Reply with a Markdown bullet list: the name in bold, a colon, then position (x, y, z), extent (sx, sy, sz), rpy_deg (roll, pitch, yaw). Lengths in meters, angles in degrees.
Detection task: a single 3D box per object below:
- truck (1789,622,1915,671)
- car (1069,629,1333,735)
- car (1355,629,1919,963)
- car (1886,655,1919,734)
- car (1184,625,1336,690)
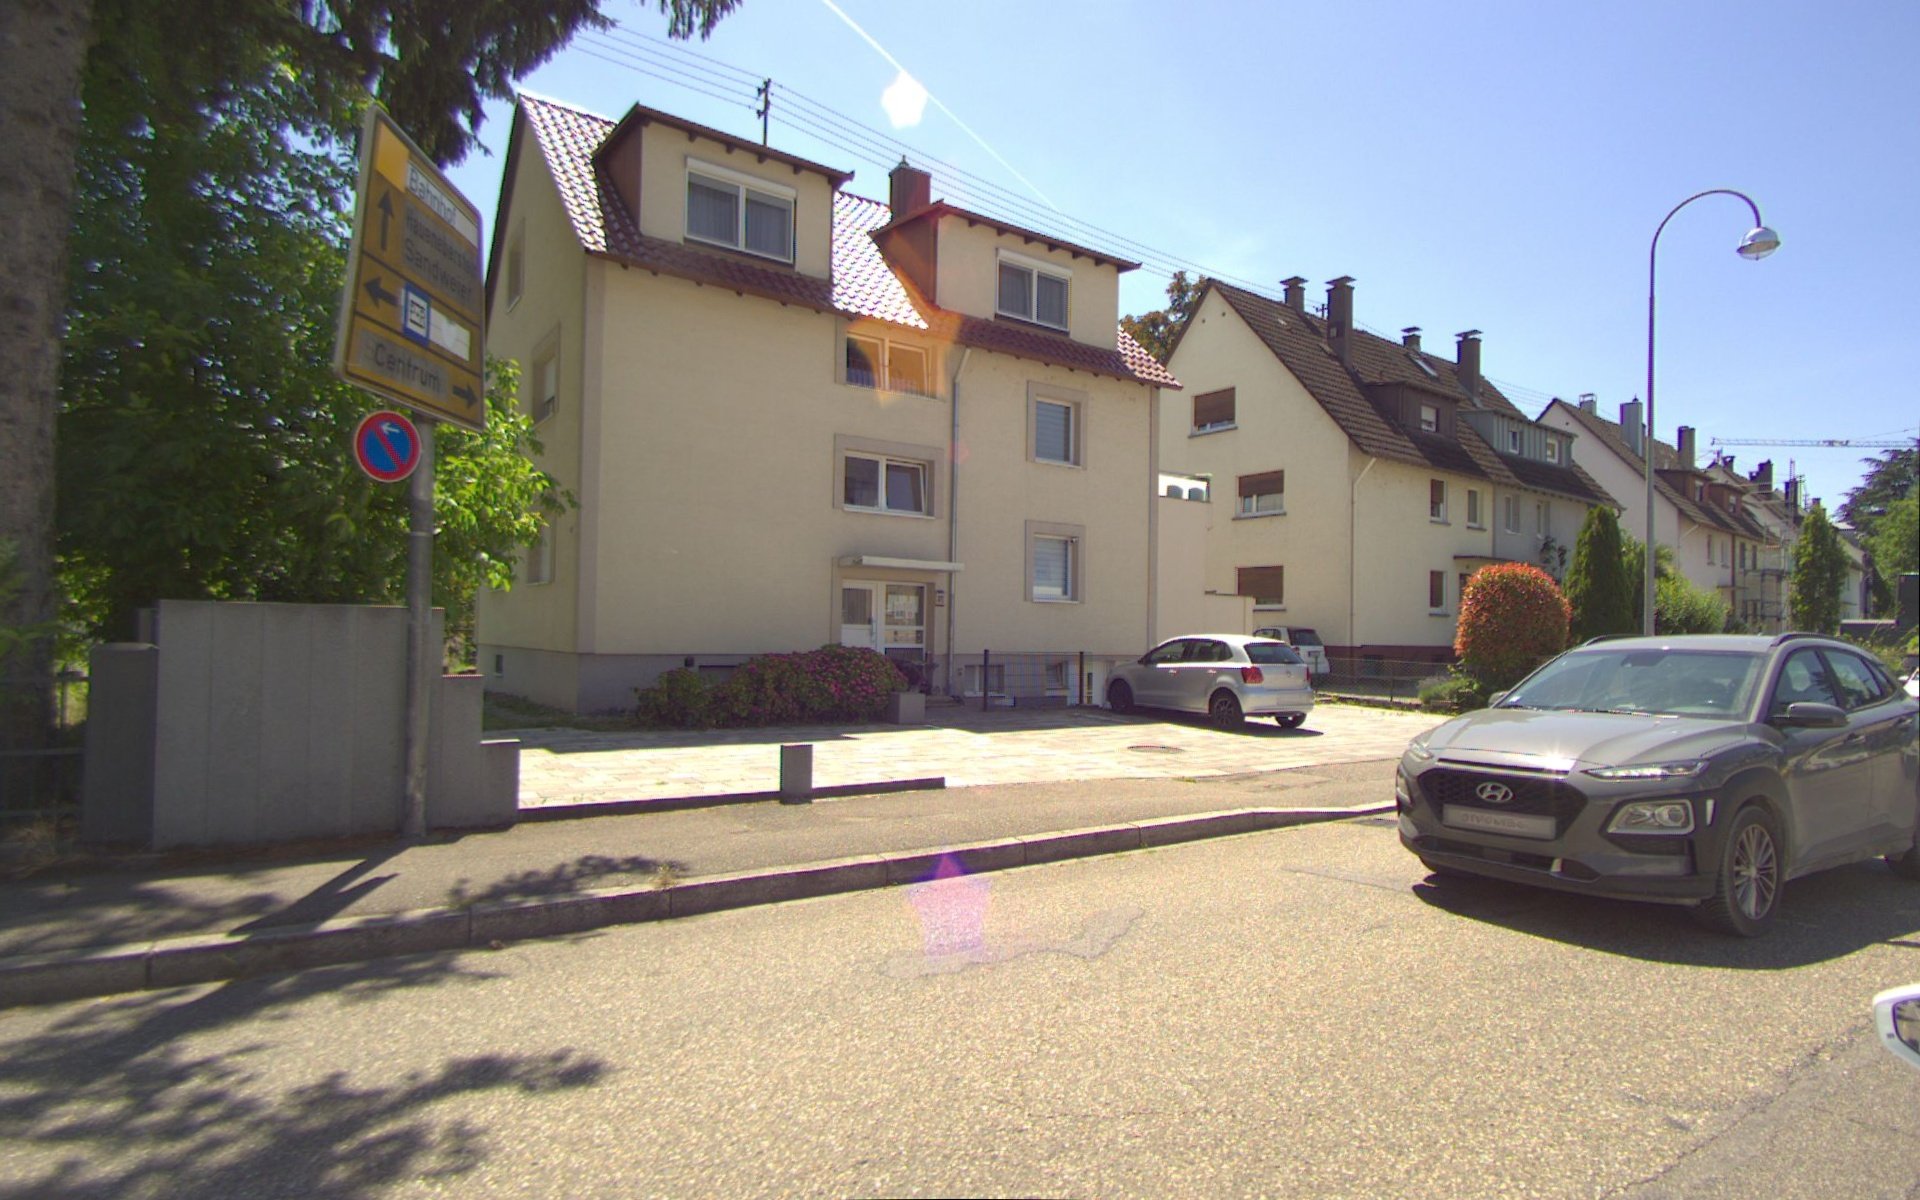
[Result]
- **truck**: position (37.032, 1.916, 41.772), extent (1.533, 1.963, 3.739), rpy_deg (2, -2, -39)
- **car**: position (3.943, 1.295, 17.204), extent (1.826, 1.460, 4.446), rpy_deg (2, -1, -30)
- **car**: position (4.606, 1.002, 6.424), extent (4.095, 1.524, 1.732), rpy_deg (2, -4, -31)
- **car**: position (19.574, 1.789, 19.513), extent (3.903, 1.442, 1.568), rpy_deg (2, -4, -36)
- **car**: position (8.090, 1.497, 27.377), extent (1.632, 1.556, 3.757), rpy_deg (1, 0, -37)
